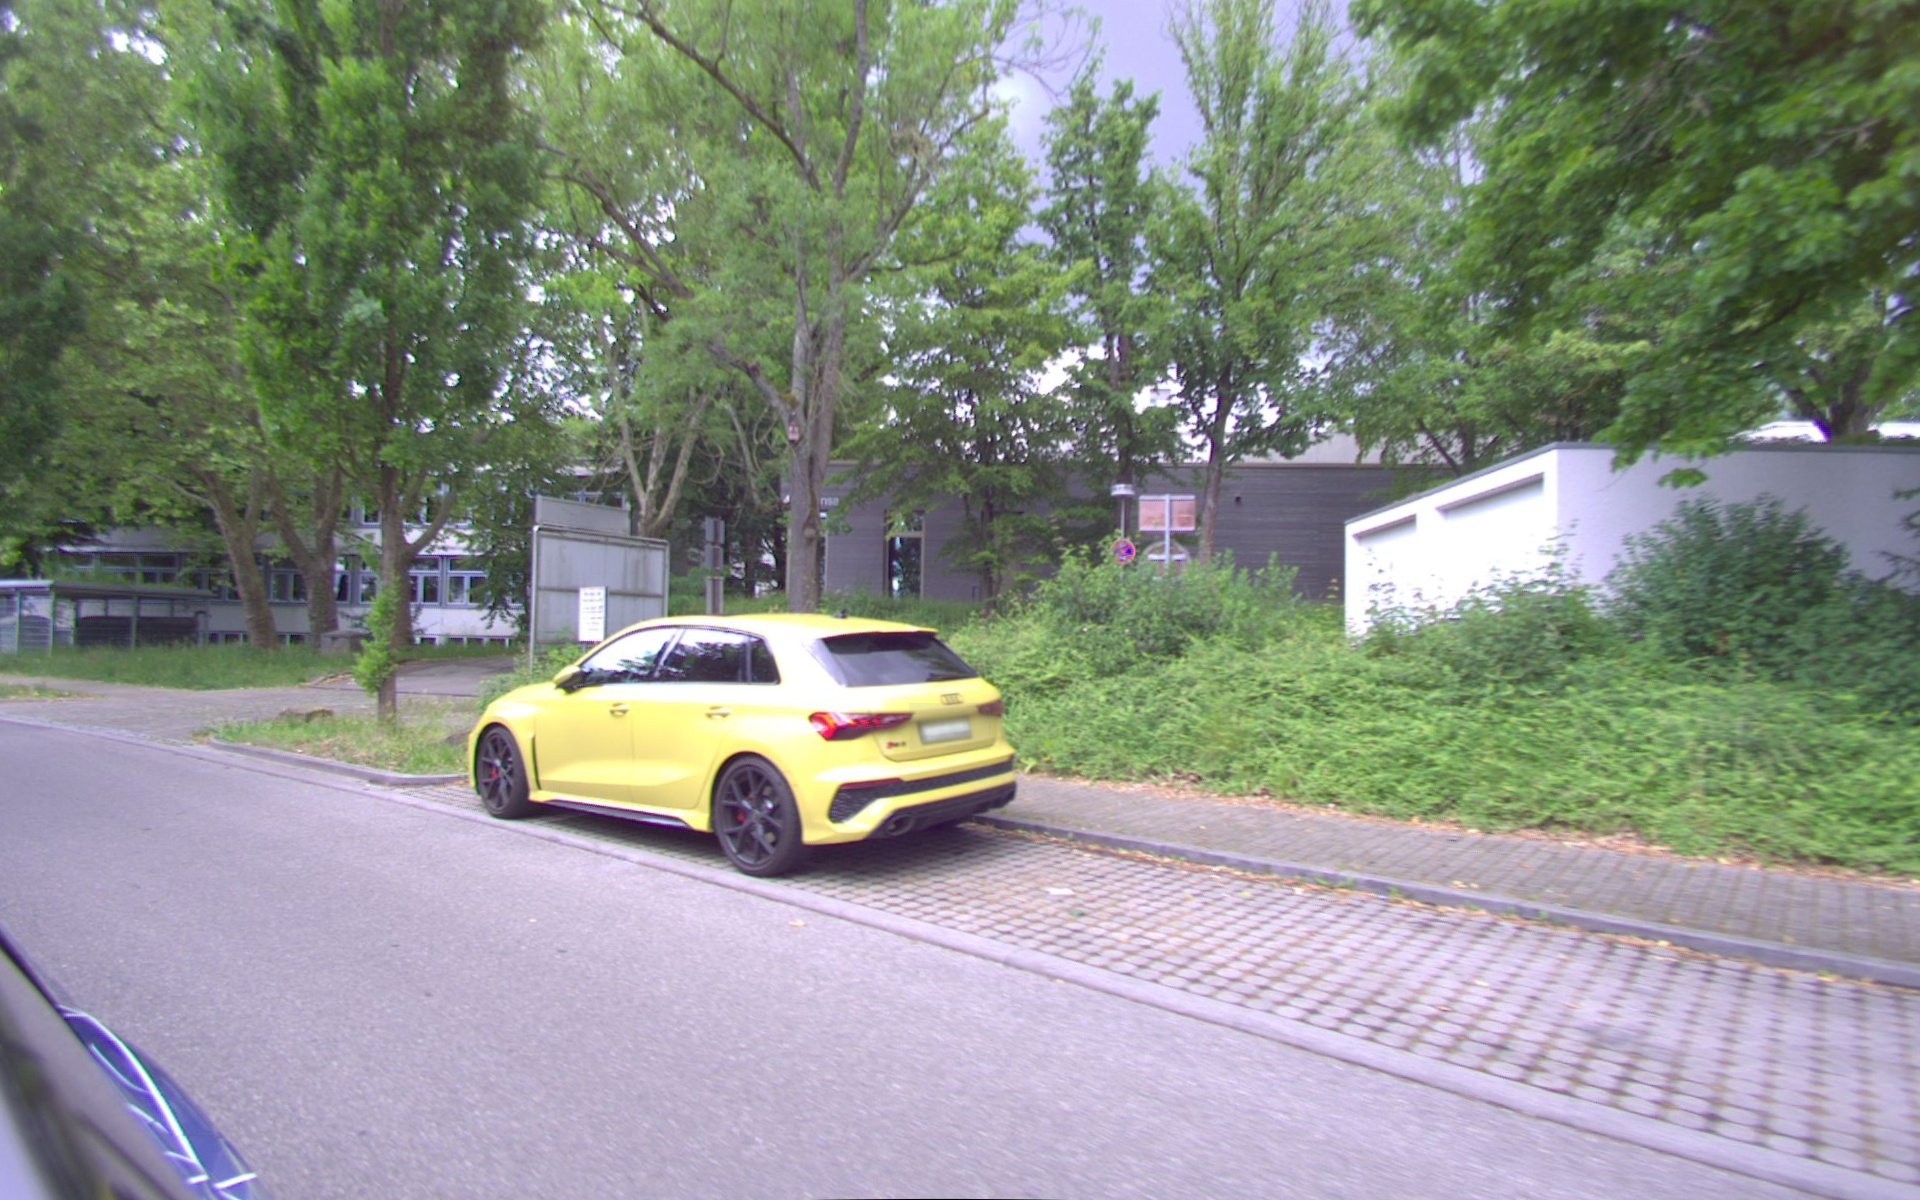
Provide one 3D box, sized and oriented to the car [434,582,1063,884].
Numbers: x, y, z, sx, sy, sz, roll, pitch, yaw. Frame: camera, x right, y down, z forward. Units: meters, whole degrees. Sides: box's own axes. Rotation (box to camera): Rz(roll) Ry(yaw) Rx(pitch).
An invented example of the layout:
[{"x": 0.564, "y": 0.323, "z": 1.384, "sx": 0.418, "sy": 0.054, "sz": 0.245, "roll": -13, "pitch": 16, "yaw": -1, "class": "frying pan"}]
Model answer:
[{"x": -1.580, "y": 0.643, "z": 6.709, "sx": 4.265, "sy": 1.413, "sz": 1.685, "roll": 0, "pitch": -1, "yaw": 37, "class": "car"}]
